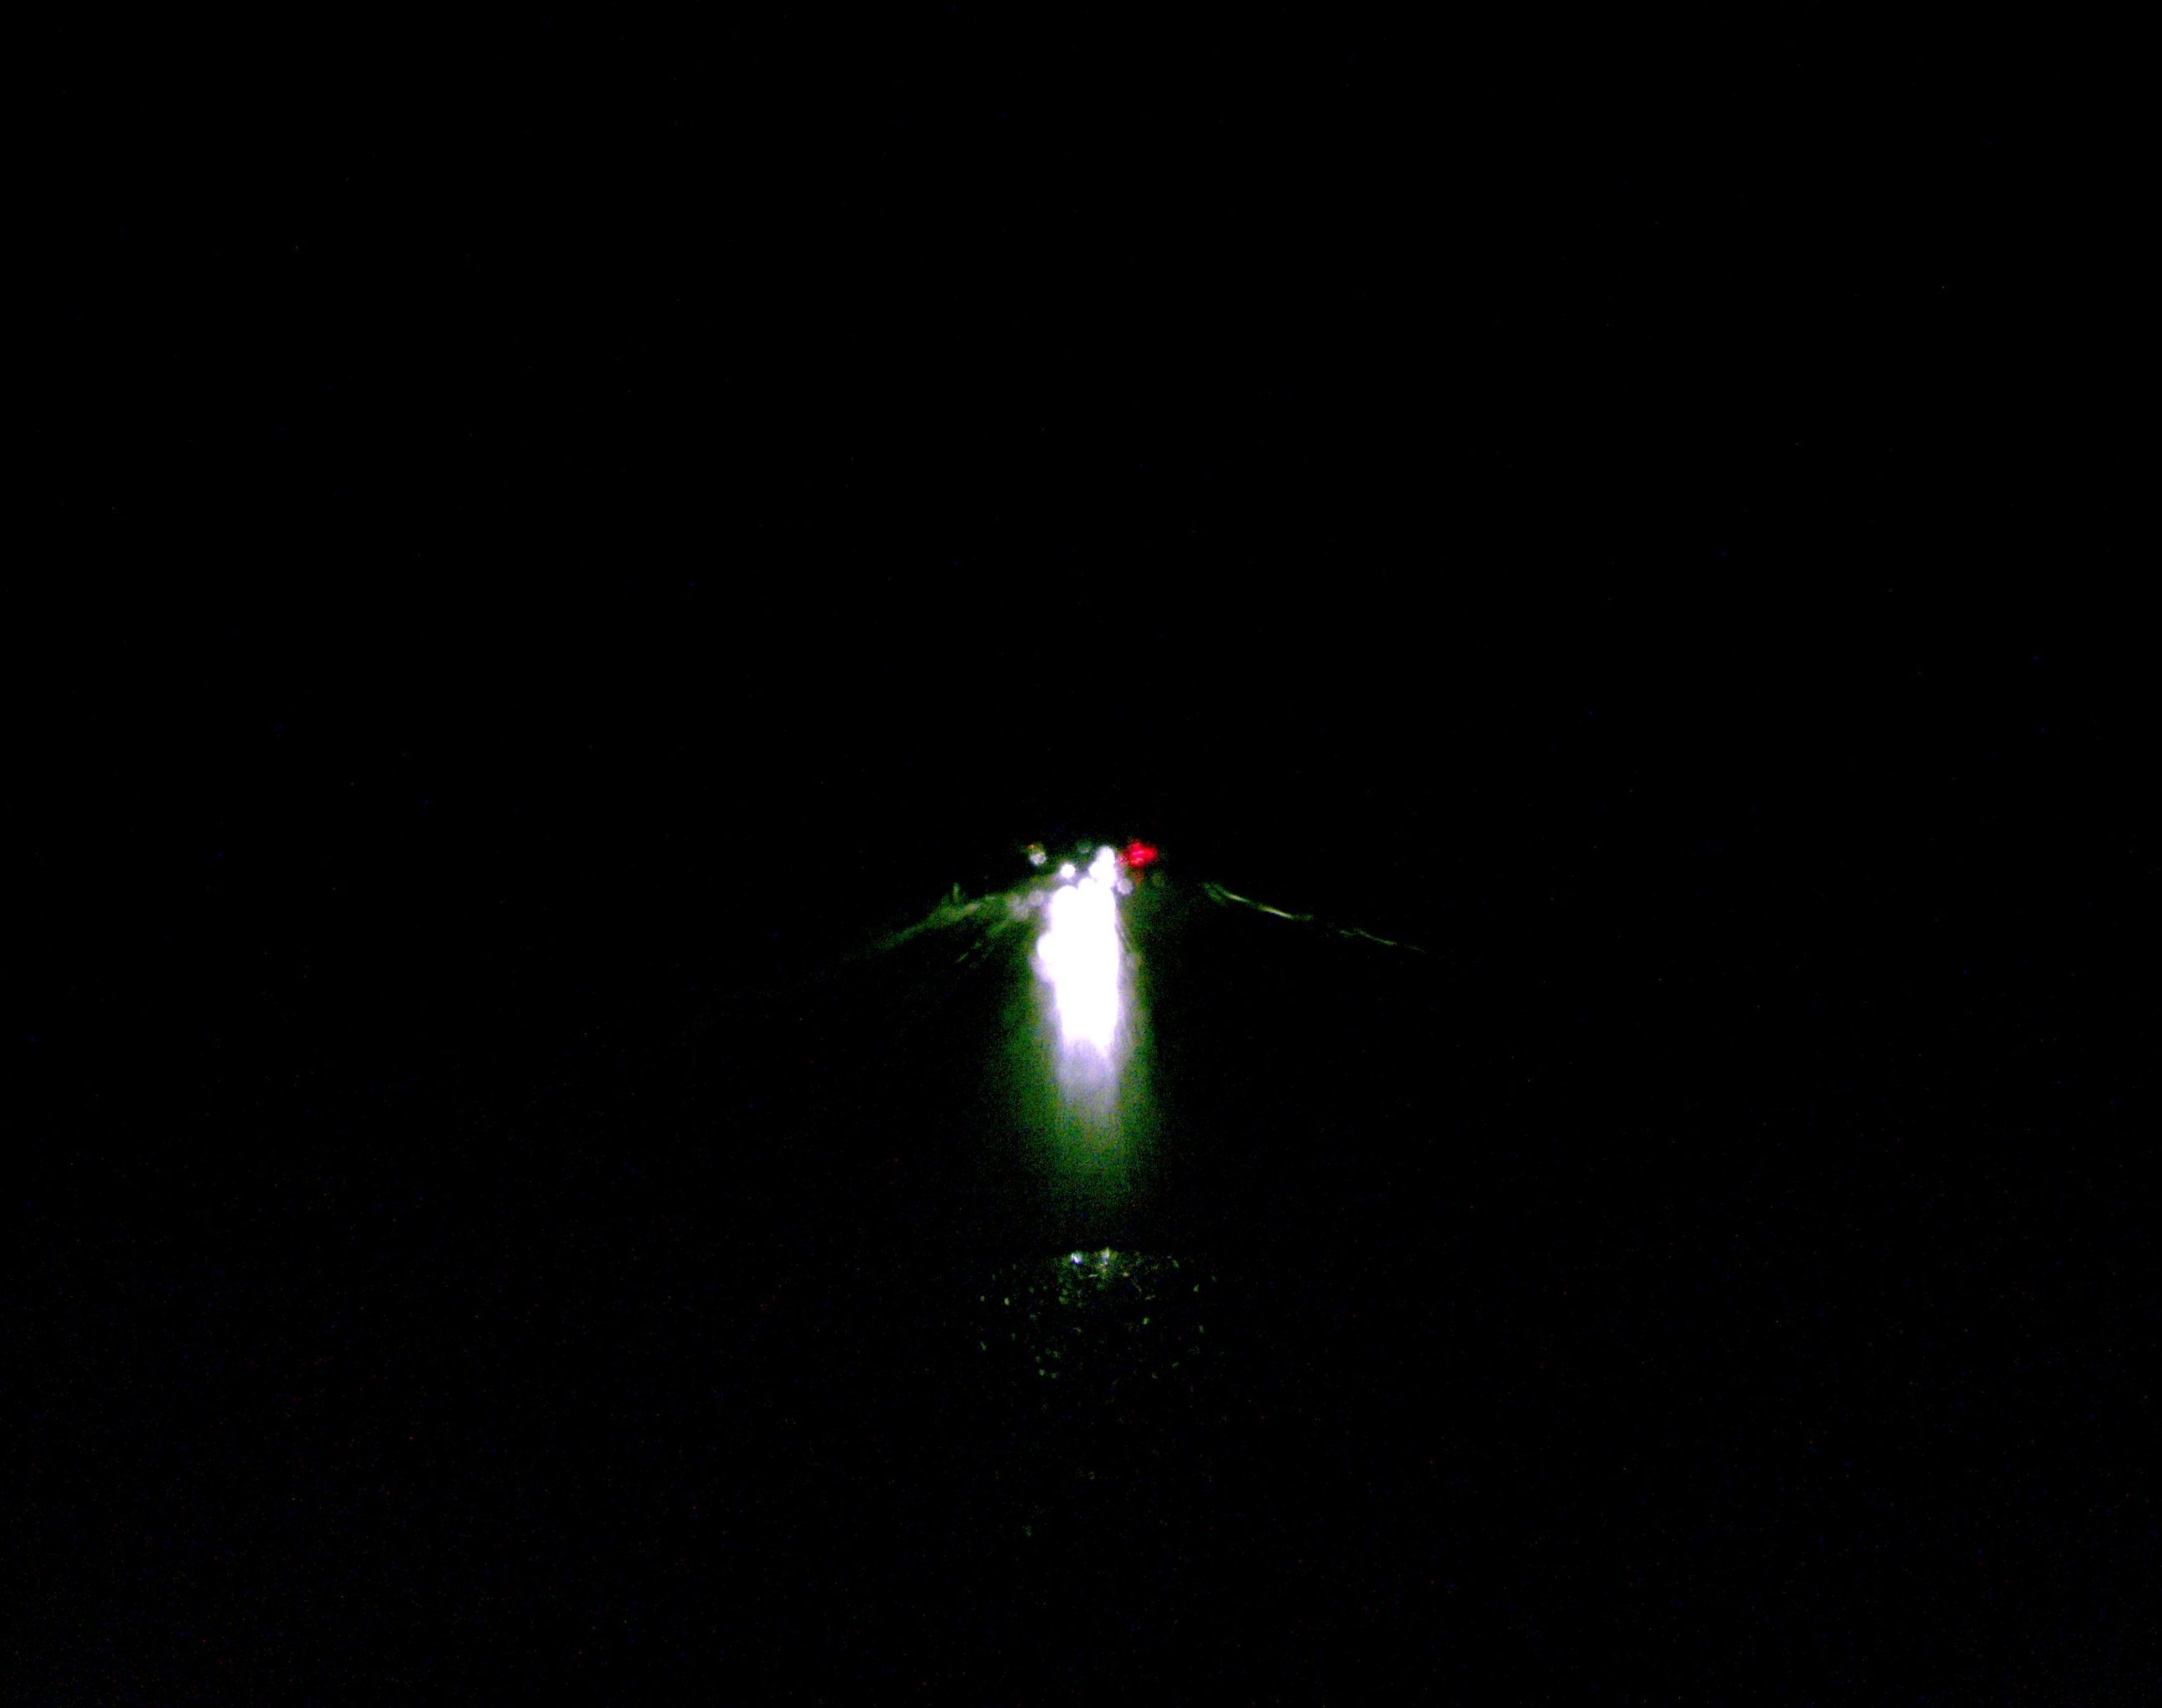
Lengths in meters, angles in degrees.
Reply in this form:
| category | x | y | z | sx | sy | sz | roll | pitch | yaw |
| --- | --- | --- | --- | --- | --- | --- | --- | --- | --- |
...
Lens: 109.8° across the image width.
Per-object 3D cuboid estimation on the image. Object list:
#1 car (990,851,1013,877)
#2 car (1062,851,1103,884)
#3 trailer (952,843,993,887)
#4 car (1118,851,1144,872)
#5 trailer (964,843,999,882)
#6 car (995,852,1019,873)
| category | x | y | z | sx | sy | sz | roll | pitch | yaw |
| --- | --- | --- | --- | --- | --- | --- | --- | --- | --- |
| car | -7.055 | 0.861 | 67.770 | 1.883 | 2.028 | 4.388 | -4 | 1 | -5 |
| car | 0.115 | 0.683 | 40.634 | 1.998 | 1.412 | 3.999 | -4 | 1 | 1 |
| trailer | -6.422 | 0.588 | 45.535 | 1.634 | 2.351 | 4.652 | -6 | 1 | -1 |
| car | 3.993 | 0.584 | 61.009 | 1.806 | 1.500 | 3.615 | -4 | 0 | 2 |
| trailer | -6.579 | 0.500 | 50.699 | 1.609 | 2.339 | 4.430 | -6 | 1 | -1 |
| car | -7.007 | 0.788 | 72.366 | 1.883 | 1.799 | 4.154 | -4 | 1 | -3 |
